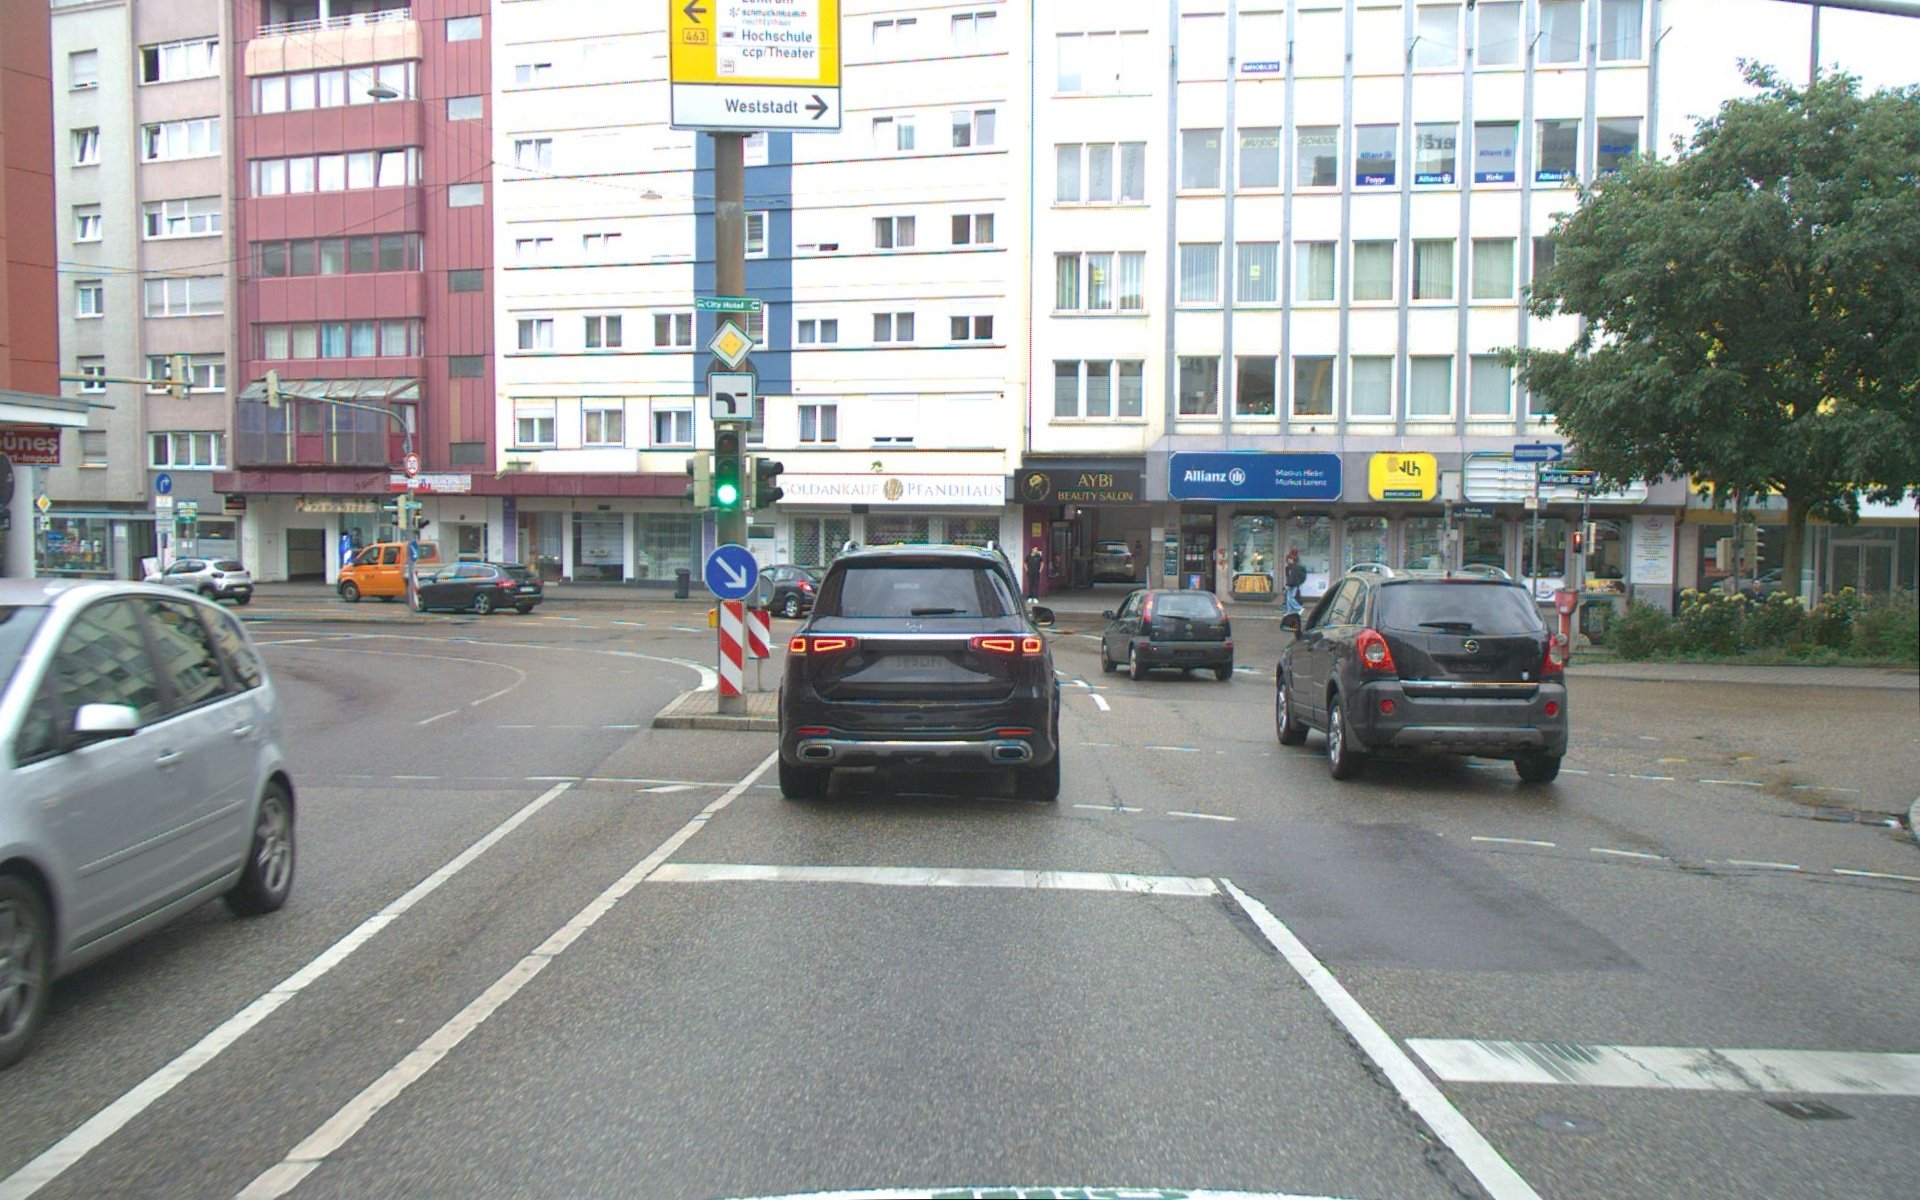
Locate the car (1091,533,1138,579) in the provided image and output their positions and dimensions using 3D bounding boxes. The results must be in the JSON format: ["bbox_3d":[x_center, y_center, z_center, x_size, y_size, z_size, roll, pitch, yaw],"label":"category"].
[{"bbox_3d":[5.946,-1.657,63.822,1.759,1.699,4.003,0,0,5],"label":"car"}]

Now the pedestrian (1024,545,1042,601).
[{"bbox_3d":[2.295,-0.857,52.299,0.552,1.717,0.756,0,6,2],"label":"pedestrian"}]

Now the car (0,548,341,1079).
[{"bbox_3d":[-3.907,0.684,6.395,1.701,1.620,4.171,-2,0,-5],"label":"car"}]

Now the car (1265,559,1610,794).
[{"bbox_3d":[4.030,0.548,14.783,1.858,1.724,4.506,1,1,1],"label":"car"}]

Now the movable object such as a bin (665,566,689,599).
[{"bbox_3d":[-9.290,-0.569,54.223,0.531,0.966,0.613,-7,9,-33],"label":"movable object such as a bin"}]

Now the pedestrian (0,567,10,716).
[{"bbox_3d":[-12.518,0.525,20.810,0.747,1.881,0.841,1,0,-13],"label":"pedestrian"}]

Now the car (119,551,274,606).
[{"bbox_3d":[-24.669,-0.688,53.436,4.554,1.542,1.930,2,-1,23],"label":"car"}]

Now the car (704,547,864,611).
[{"bbox_3d":[-5.035,-0.613,47.138,4.404,1.687,1.822,2,-1,35],"label":"car"}]

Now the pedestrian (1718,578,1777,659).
[{"bbox_3d":[18.927,0.444,39.769,0.808,1.858,0.889,3,1,-10],"label":"pedestrian"}]

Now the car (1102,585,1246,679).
[{"bbox_3d":[3.444,0.475,27.282,1.731,1.422,3.999,0,0,-2],"label":"car"}]

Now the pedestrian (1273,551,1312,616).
[{"bbox_3d":[9.827,-0.492,48.932,1.008,1.829,0.831,1,6,5],"label":"pedestrian"}]

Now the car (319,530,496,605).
[{"bbox_3d":[-18.354,-1.081,54.942,5.299,2.267,2.250,2,0,21],"label":"car"}]

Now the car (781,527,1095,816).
[{"bbox_3d":[-0.346,0.455,13.079,1.999,1.830,4.658,2,0,-5],"label":"car"}]

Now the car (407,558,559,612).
[{"bbox_3d":[-13.833,-0.430,47.949,4.146,1.512,1.995,0,0,31],"label":"car"}]

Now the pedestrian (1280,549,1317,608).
[{"bbox_3d":[10.340,-0.651,50.546,1.008,1.717,0.831,1,6,5],"label":"pedestrian"}]

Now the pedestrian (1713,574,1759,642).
[{"bbox_3d":[22.169,0.238,47.271,0.875,1.859,0.675,5,-2,-21],"label":"pedestrian"}]
